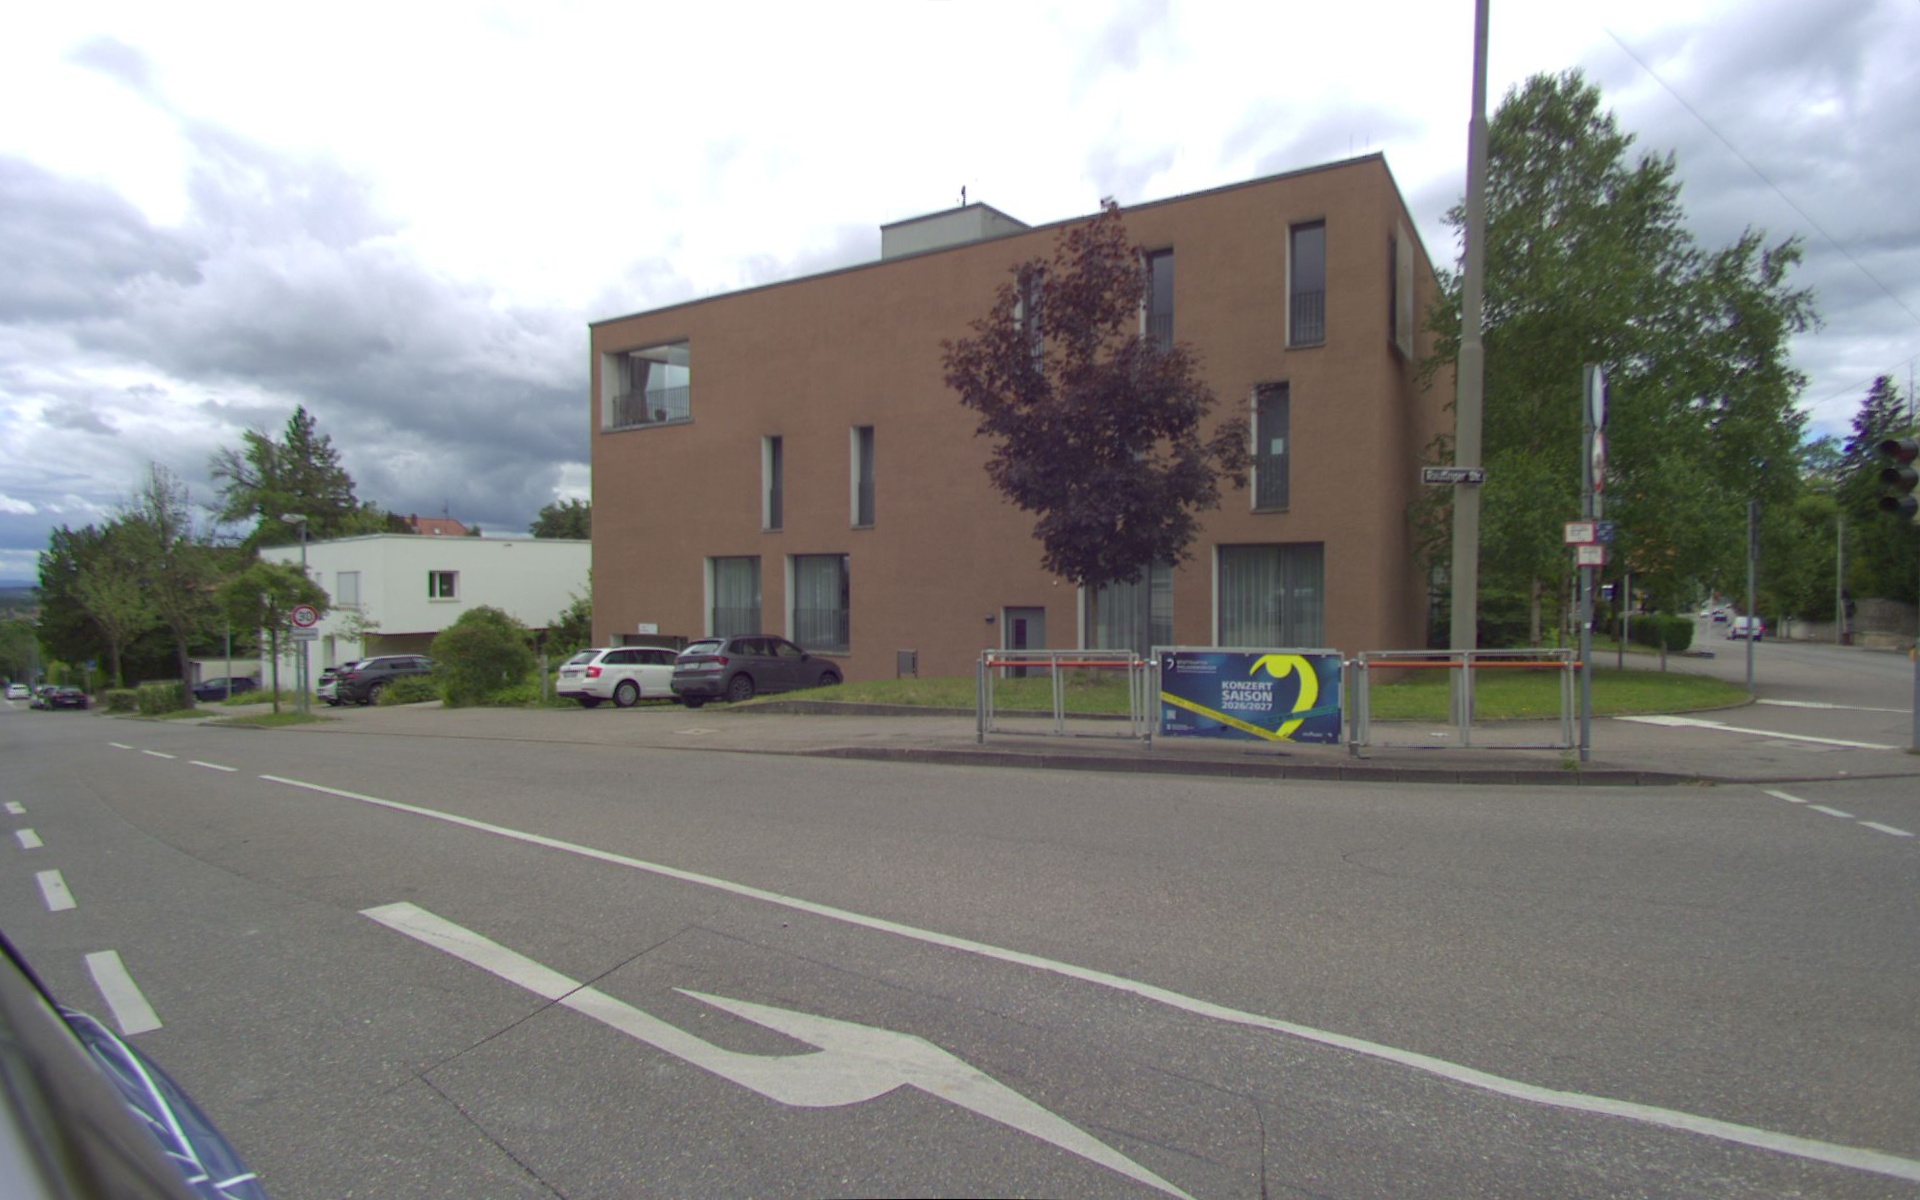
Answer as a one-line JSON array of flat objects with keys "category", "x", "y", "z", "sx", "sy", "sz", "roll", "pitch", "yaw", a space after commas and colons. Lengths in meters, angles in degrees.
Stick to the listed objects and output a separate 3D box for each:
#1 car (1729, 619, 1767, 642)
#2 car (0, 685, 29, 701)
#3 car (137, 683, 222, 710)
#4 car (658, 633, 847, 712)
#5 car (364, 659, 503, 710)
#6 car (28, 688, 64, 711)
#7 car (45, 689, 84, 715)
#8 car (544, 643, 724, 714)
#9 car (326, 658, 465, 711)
[{"category": "car", "x": 60.953, "y": 2.318, "z": 78.302, "sx": 1.807, "sy": 1.724, "sz": 3.993, "roll": -1, "pitch": -2, "yaw": 31}, {"category": "car", "x": -95.907, "y": 9.399, "z": 102.338, "sx": 4.362, "sy": 1.432, "sz": 1.861, "roll": -3, "pitch": -3, "yaw": 38}, {"category": "car", "x": -46.971, "y": 5.793, "z": 60.924, "sx": 3.939, "sy": 1.296, "sz": 1.665, "roll": 0, "pitch": -4, "yaw": -43}, {"category": "car", "x": -4.523, "y": 1.572, "z": 22.533, "sx": 1.724, "sy": 1.497, "sz": 3.950, "roll": -5, "pitch": -4, "yaw": 37}, {"category": "car", "x": -18.232, "y": 2.906, "z": 35.142, "sx": 1.727, "sy": 1.497, "sz": 3.943, "roll": -6, "pitch": -4, "yaw": 43}, {"category": "car", "x": -61.557, "y": 6.695, "z": 68.136, "sx": 1.638, "sy": 1.432, "sz": 4.371, "roll": 0, "pitch": -4, "yaw": -44}, {"category": "car", "x": -54.934, "y": 6.230, "z": 62.058, "sx": 1.638, "sy": 1.432, "sz": 4.003, "roll": 0, "pitch": -4, "yaw": -44}, {"category": "car", "x": -7.995, "y": 1.912, "z": 25.114, "sx": 1.724, "sy": 1.497, "sz": 3.950, "roll": -5, "pitch": -4, "yaw": 37}, {"category": "car", "x": -19.973, "y": 2.969, "z": 35.925, "sx": 1.793, "sy": 1.608, "sz": 3.943, "roll": -6, "pitch": -4, "yaw": 43}]
